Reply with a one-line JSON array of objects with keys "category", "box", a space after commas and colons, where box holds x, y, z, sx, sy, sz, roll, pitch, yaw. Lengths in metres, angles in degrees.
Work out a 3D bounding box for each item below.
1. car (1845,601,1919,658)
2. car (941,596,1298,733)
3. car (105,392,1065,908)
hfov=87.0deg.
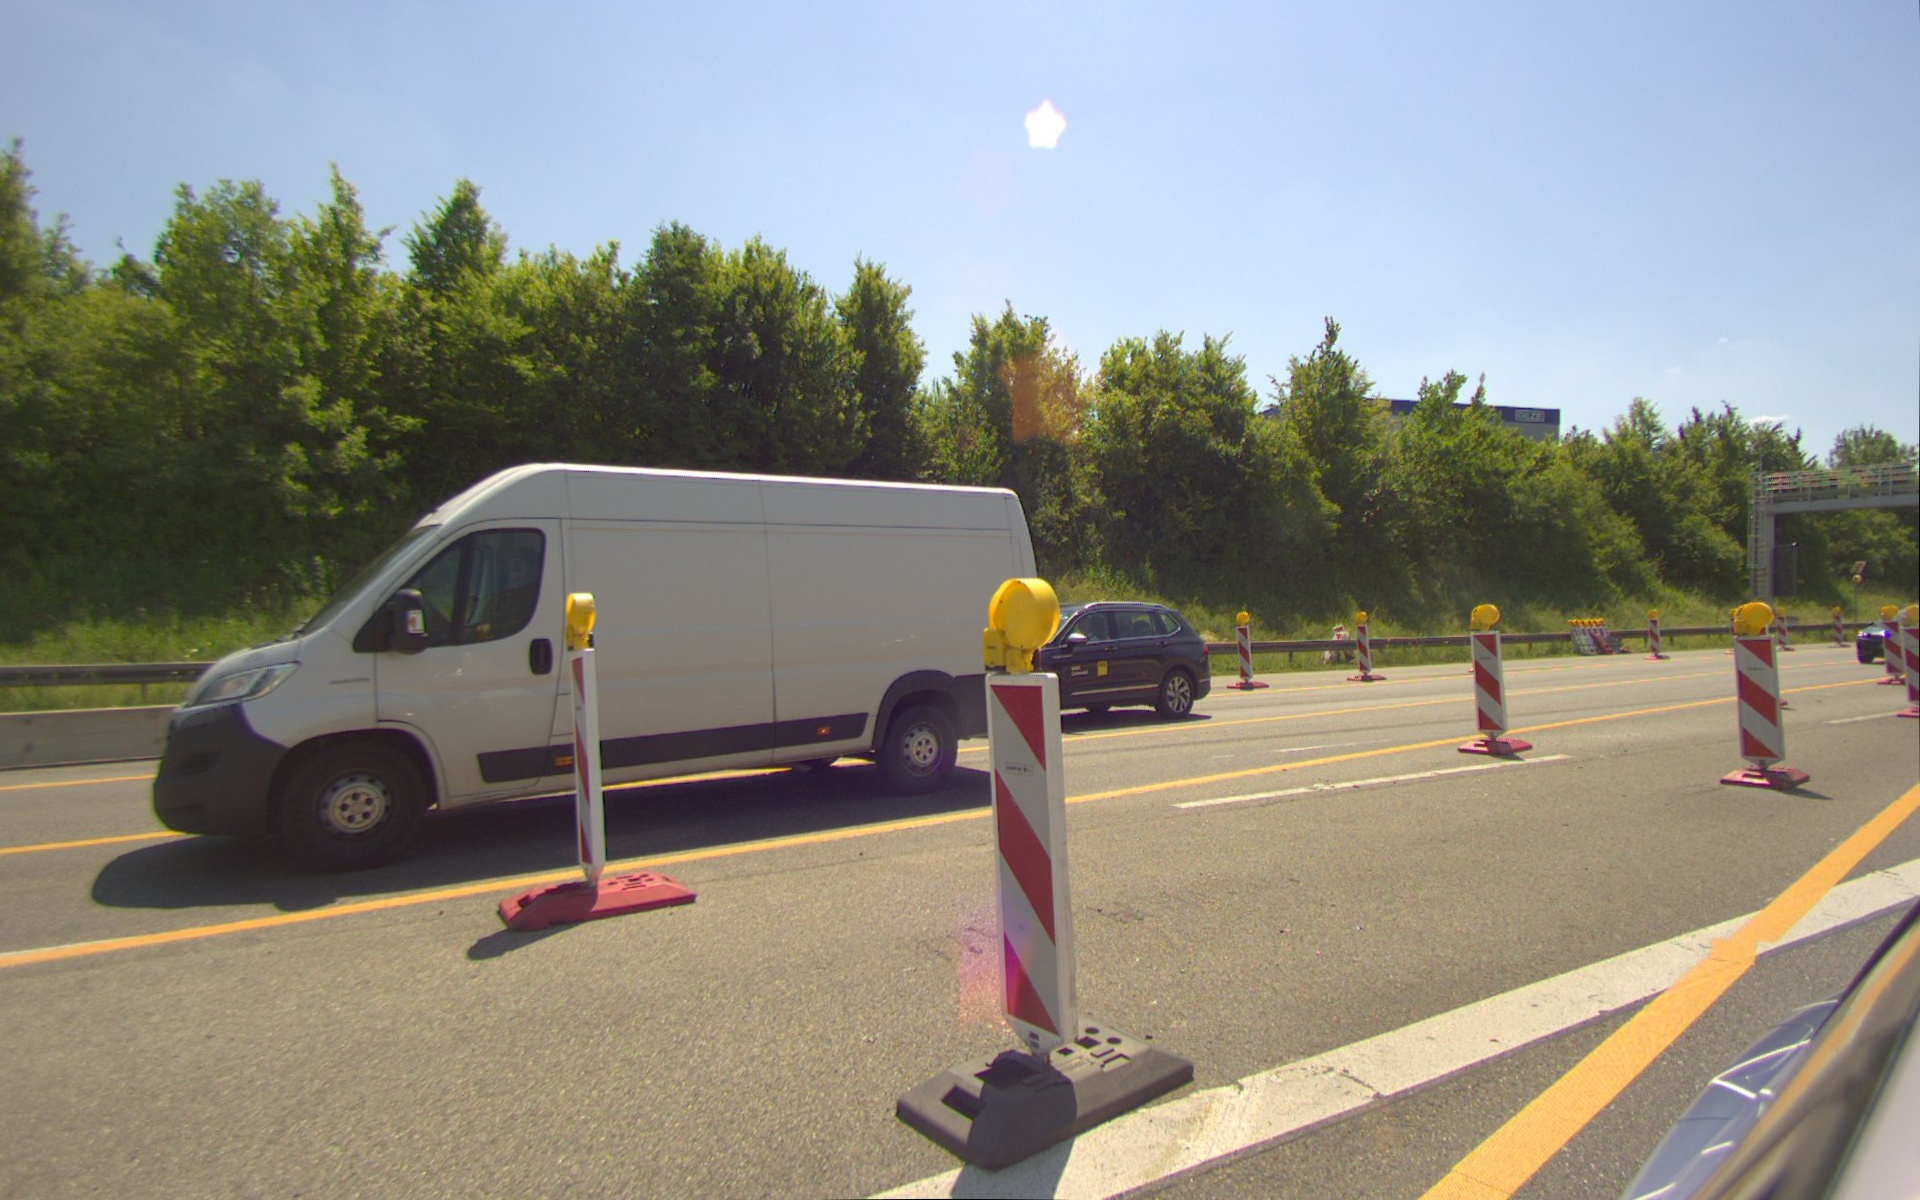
[{"category": "car", "box": [26.832, 0.787, 28.479, 4.590, 1.505, 1.999, 0, -1, -37]}, {"category": "car", "box": [2.427, 0.790, 14.757, 5.136, 1.684, 2.026, 0, 0, -34]}, {"category": "car", "box": [-2.332, 0.238, 7.896, 6.462, 2.568, 2.272, 0, 0, -37]}]
